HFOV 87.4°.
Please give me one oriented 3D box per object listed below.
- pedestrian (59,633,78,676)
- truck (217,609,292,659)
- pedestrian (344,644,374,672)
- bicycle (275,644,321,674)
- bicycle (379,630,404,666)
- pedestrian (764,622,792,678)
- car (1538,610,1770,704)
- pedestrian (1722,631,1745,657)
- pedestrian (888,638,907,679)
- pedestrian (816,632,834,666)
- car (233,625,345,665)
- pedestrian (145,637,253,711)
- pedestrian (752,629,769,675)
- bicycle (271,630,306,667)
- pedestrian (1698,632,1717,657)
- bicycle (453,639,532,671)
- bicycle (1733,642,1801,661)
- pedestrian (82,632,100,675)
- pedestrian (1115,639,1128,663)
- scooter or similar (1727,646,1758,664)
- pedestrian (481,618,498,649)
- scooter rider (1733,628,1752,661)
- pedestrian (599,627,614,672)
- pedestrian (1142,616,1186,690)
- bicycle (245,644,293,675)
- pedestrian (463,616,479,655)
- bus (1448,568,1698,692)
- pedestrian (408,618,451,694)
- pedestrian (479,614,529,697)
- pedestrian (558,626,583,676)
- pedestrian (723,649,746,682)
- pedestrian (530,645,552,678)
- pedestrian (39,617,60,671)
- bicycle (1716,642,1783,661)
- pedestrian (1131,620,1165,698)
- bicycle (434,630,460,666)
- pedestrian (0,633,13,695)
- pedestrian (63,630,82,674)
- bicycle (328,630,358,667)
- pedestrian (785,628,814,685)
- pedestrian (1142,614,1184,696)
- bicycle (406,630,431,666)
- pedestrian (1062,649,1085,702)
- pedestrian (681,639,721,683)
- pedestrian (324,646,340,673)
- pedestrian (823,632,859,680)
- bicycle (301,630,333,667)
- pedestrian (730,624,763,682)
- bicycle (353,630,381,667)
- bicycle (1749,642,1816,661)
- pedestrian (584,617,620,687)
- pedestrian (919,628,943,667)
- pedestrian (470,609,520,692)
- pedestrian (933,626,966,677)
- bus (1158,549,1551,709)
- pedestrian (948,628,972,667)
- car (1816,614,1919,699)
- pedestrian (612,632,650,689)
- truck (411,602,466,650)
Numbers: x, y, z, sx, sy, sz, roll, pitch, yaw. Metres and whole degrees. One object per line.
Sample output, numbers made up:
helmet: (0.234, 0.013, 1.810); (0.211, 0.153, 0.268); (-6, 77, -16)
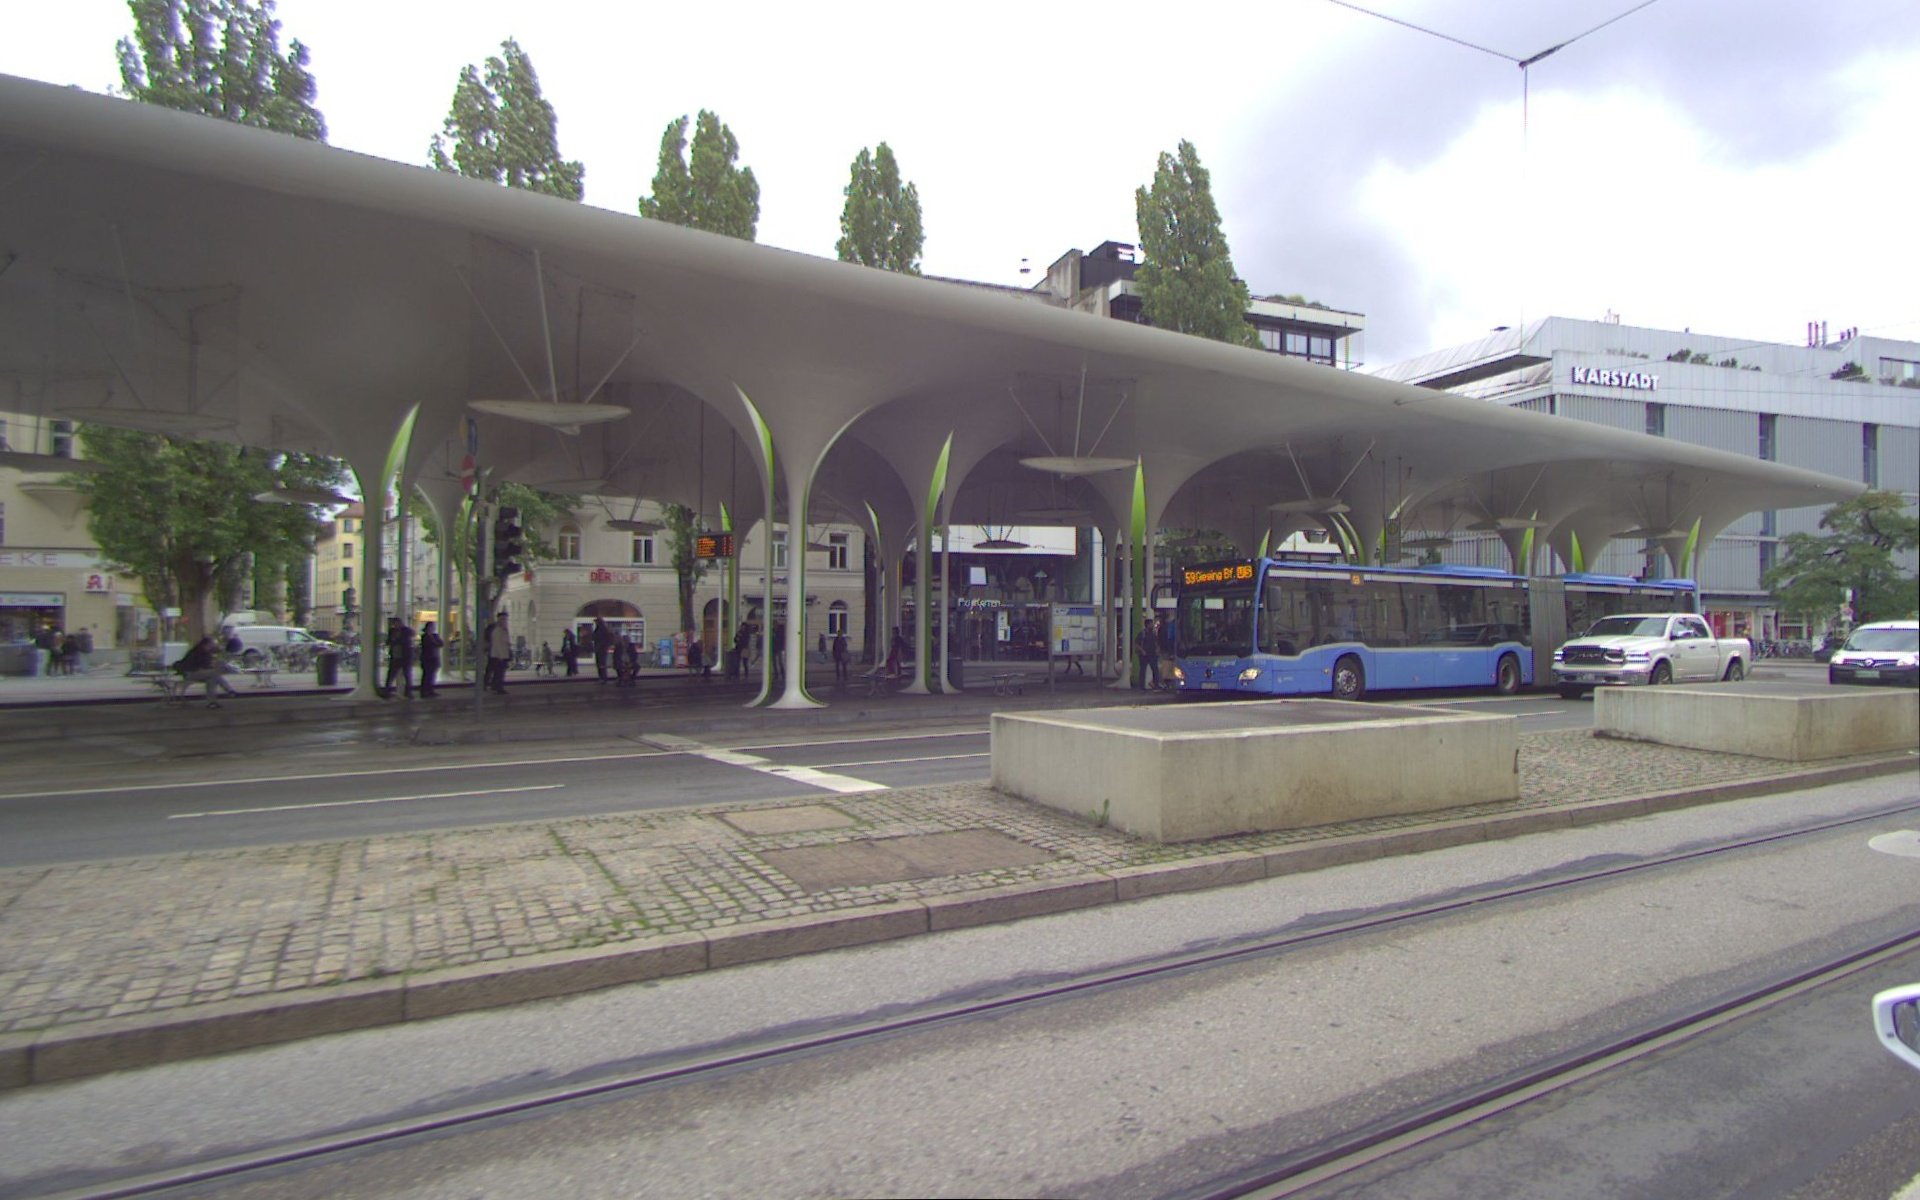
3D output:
pedestrian: (-34.926, 2.130, 39.358); (0.453, 1.612, 0.519); (1, 1, -32)
truck: (-39.740, 1.894, 56.752); (2.259, 2.658, 5.324); (1, -2, -22)
pedestrian: (-25.099, 2.403, 41.961); (0.606, 1.097, 1.835); (1, -1, -15)
bicycle: (-27.365, 2.434, 41.549); (0.726, 1.149, 2.677); (1, -2, -14)
bicycle: (-26.966, 2.251, 47.705); (0.989, 1.634, 3.598); (1, -2, -29)
pedestrian: (-5.674, 1.564, 31.310); (0.635, 1.719, 0.700); (0, -1, 11)
car: (16.007, 1.257, 23.055); (6.087, 1.912, 2.164); (1, -2, -32)
pedestrian: (49.128, 2.788, 63.795); (0.962, 1.602, 0.796); (1, -1, -18)
pedestrian: (-2.012, 1.878, 32.314); (0.563, 1.282, 0.520); (0, -1, 3)
pedestrian: (-7.008, 2.535, 52.049); (0.742, 1.699, 0.790); (1, -2, -20)
car: (-34.913, 2.324, 52.360); (4.758, 1.945, 1.980); (2, -2, -37)
pedestrian: (-13.317, 1.279, 17.613); (1.248, 1.246, 0.811); (1, -1, -11)
pedestrian: (-9.700, 2.528, 48.797); (0.716, 2.201, 0.556); (1, -1, -19)
bicycle: (-30.563, 2.176, 45.780); (0.989, 1.634, 3.598); (1, -2, -29)
pedestrian: (47.674, 2.821, 64.090); (0.706, 1.595, 0.640); (0, -1, 1)
bicycle: (-19.630, 2.300, 42.219); (2.889, 1.331, 0.840); (0, -1, -11)
bicycle: (53.258, 3.363, 66.355); (1.042, 1.172, 3.494); (1, -2, -16)
pedestrian: (-34.122, 2.080, 39.440); (0.452, 1.647, 0.577); (1, 1, -32)
pedestrian: (9.290, 2.952, 57.826); (0.567, 1.351, 0.512); (1, -1, -11)
scooter or similar: (45.405, 3.177, 58.283); (0.409, 0.995, 1.394); (1, -2, -28)
pedestrian: (-27.194, 1.926, 58.055); (0.791, 1.807, 0.951); (1, -1, -30)
scooter rider: (45.406, 2.566, 58.251); (0.612, 1.859, 0.662); (1, -1, -28)
pedestrian: (-14.526, 2.015, 41.282); (0.546, 1.838, 0.556); (1, -1, -18)
pedestrian: (4.940, 1.266, 24.312); (0.706, 1.744, 0.876); (-1, -2, 44)
bicycle: (-28.277, 2.414, 41.142); (0.726, 1.149, 2.677); (1, -2, -14)
pedestrian: (-25.334, 1.838, 52.045); (0.563, 2.040, 0.667); (1, -1, -16)
bus: (17.002, 0.879, 27.704); (7.425, 3.046, 2.648); (1, -3, -31)
pedestrian: (-11.088, 1.160, 20.995); (0.586, 1.565, 0.634); (-1, -2, 43)
pedestrian: (-9.859, 1.181, 21.728); (0.797, 1.750, 0.670); (-1, -2, 37)
pedestrian: (-13.111, 1.711, 33.772); (0.635, 1.669, 0.596); (1, -2, -37)
pedestrian: (-6.887, 1.991, 30.635); (0.450, 1.002, 0.513); (-1, -2, 34)
pedestrian: (-13.937, 2.041, 33.399); (0.573, 1.098, 0.513); (1, -2, -37)
pedestrian: (-34.599, 1.670, 38.172); (0.452, 2.040, 0.577); (1, 1, -32)
bicycle: (51.694, 3.328, 65.853); (1.042, 1.172, 3.494); (1, -2, -16)
pedestrian: (4.299, 1.339, 22.967); (0.567, 1.756, 0.501); (1, -2, -37)
bicycle: (-24.955, 2.293, 48.846); (0.989, 1.634, 3.598); (1, -2, -29)
pedestrian: (-31.885, 2.101, 33.242); (0.686, 2.040, 0.692); (1, -1, -37)
pedestrian: (-34.074, 1.996, 38.565); (0.452, 1.647, 0.577); (1, 1, -32)
bicycle: (-28.693, 2.216, 46.761); (0.989, 1.634, 3.598); (1, -2, -29)
pedestrian: (-4.736, 1.651, 29.613); (0.690, 1.639, 0.644); (1, -2, -26)
pedestrian: (4.490, 1.203, 22.201); (0.750, 1.766, 0.560); (1, -2, -40)
bicycle: (-25.982, 2.272, 48.194); (0.989, 1.634, 3.598); (1, -2, -29)
pedestrian: (4.469, 2.948, 39.437); (0.889, 2.040, 0.673); (0, -1, 6)
pedestrian: (-7.271, 1.694, 28.181); (0.867, 1.170, 0.908); (1, 1, -29)
pedestrian: (-26.018, 2.450, 41.621); (0.397, 1.097, 0.467); (1, -1, -16)
pedestrian: (-3.862, 1.797, 32.601); (0.888, 1.528, 0.738); (1, -2, -37)
bicycle: (-29.596, 2.197, 46.258); (0.989, 1.634, 3.598); (1, -2, -29)
pedestrian: (-5.975, 1.480, 28.111); (0.652, 1.585, 0.640); (-1, -2, 35)
bicycle: (-27.819, 2.234, 47.161); (0.989, 1.634, 3.598); (1, -2, -29)
bicycle: (54.629, 3.393, 66.799); (1.042, 1.172, 3.494); (1, -2, -16)
pedestrian: (-9.425, 1.355, 26.434); (0.772, 1.812, 0.760); (1, -1, -27)
pedestrian: (-1.358, 2.204, 46.837); (0.981, 1.796, 0.931); (1, -1, -10)
pedestrian: (-10.866, 1.165, 23.470); (0.873, 1.897, 0.704); (1, -2, -44)
pedestrian: (-0.375, 1.808, 35.535); (0.883, 1.753, 0.869); (1, -2, -23)
bus: (9.361, 0.717, 23.087); (10.397, 3.046, 2.647); (1, -3, -32)
pedestrian: (-0.004, 2.234, 47.105); (0.981, 1.796, 0.931); (1, -1, -10)
car: (22.611, 1.338, 24.263); (4.172, 1.879, 1.776); (1, -3, -33)
pedestrian: (-8.245, 1.489, 25.159); (0.829, 1.388, 0.961); (1, -1, -23)
truck: (-29.570, 1.473, 56.825); (2.412, 2.546, 7.126); (1, -2, -30)
